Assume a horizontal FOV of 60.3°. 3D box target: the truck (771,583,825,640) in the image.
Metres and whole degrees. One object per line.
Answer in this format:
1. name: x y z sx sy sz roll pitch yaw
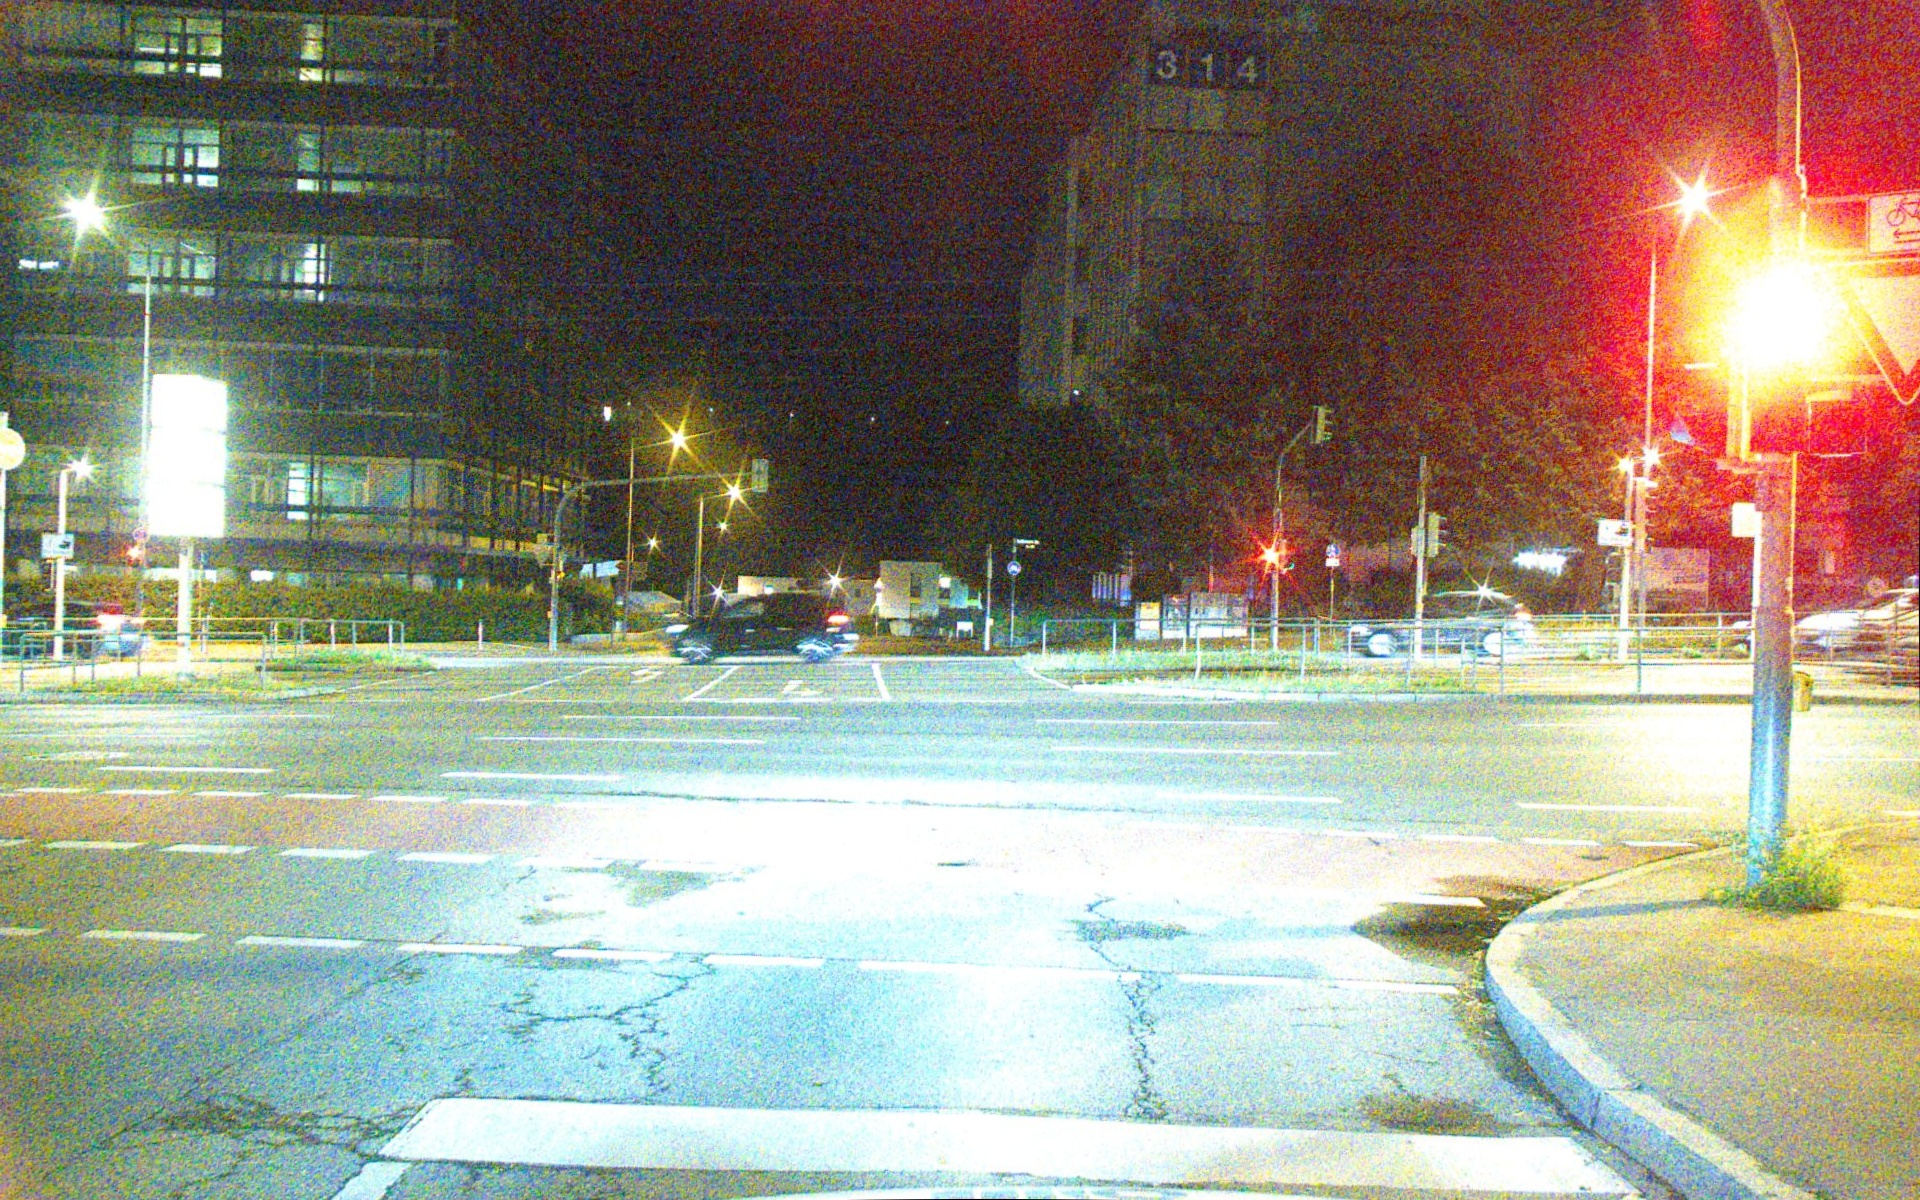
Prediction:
1. truck: -14.618 1.035 148.611 3.307 4.927 7.868 2 -1 -17

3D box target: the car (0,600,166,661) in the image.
1. car: -22.424 0.751 41.644 3.976 1.449 1.844 0 2 2

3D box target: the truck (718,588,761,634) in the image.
1. truck: -16.119 0.814 120.466 2.377 3.143 6.414 2 -1 -14

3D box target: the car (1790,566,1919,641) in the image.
1. car: 21.082 0.051 36.609 4.476 1.612 1.847 0 1 1

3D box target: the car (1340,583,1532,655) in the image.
1. car: 11.429 0.456 39.890 4.145 1.613 1.804 1 -1 3

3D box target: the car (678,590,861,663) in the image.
1. car: -4.288 0.592 37.634 3.904 1.613 1.804 0 0 1

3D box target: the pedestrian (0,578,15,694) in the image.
1. pedestrian: -14.781 0.531 24.865 0.663 1.752 0.706 1 -1 26

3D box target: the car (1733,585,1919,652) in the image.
1. car: 22.324 0.489 42.366 4.146 1.613 1.887 1 -1 1
